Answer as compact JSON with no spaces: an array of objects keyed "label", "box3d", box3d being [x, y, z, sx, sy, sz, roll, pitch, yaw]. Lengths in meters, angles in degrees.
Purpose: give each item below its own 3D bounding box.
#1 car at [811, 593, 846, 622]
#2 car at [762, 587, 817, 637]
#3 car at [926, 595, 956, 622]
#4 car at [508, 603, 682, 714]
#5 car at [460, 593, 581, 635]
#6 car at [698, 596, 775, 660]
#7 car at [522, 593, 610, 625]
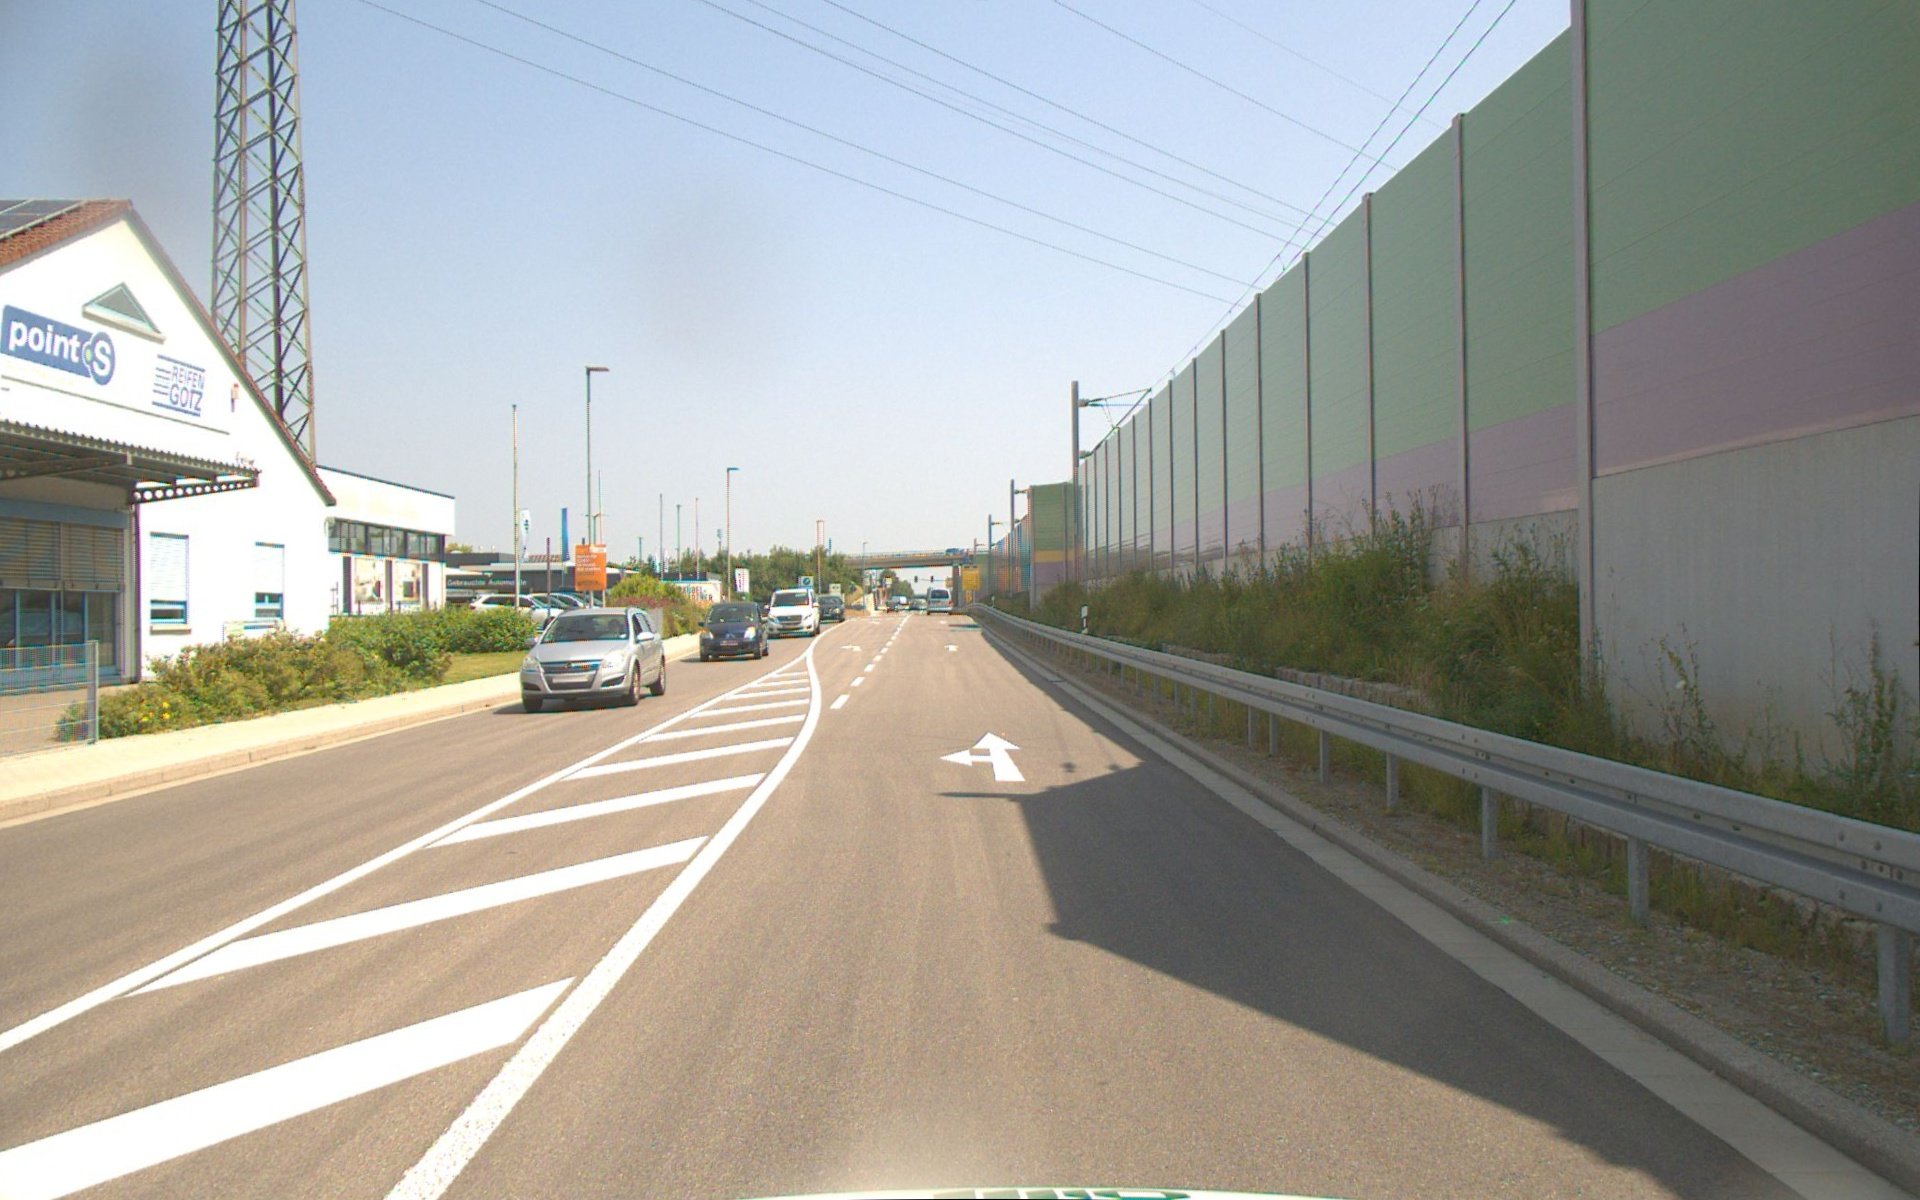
[{"label":"car","box3d":[-7.110,0.392,89.542,1.637,1.448,3.999,-1,0,-2]},{"label":"car","box3d":[-6.872,0.475,67.060,1.954,1.907,5.165,-2,0,-4]},{"label":"car","box3d":[-1.254,0.575,113.125,1.952,1.788,4.000,-1,0,0]},{"label":"car","box3d":[-5.630,0.847,26.016,1.728,1.491,4.259,-3,0,0]},{"label":"car","box3d":[-16.809,0.527,63.428,4.139,1.481,1.763,2,0,-3]},{"label":"car","box3d":[-6.207,0.749,46.229,1.635,1.628,3.971,-3,0,-1]},{"label":"car","box3d":[-17.222,0.381,72.391,3.439,1.276,1.504,2,0,-3]}]
